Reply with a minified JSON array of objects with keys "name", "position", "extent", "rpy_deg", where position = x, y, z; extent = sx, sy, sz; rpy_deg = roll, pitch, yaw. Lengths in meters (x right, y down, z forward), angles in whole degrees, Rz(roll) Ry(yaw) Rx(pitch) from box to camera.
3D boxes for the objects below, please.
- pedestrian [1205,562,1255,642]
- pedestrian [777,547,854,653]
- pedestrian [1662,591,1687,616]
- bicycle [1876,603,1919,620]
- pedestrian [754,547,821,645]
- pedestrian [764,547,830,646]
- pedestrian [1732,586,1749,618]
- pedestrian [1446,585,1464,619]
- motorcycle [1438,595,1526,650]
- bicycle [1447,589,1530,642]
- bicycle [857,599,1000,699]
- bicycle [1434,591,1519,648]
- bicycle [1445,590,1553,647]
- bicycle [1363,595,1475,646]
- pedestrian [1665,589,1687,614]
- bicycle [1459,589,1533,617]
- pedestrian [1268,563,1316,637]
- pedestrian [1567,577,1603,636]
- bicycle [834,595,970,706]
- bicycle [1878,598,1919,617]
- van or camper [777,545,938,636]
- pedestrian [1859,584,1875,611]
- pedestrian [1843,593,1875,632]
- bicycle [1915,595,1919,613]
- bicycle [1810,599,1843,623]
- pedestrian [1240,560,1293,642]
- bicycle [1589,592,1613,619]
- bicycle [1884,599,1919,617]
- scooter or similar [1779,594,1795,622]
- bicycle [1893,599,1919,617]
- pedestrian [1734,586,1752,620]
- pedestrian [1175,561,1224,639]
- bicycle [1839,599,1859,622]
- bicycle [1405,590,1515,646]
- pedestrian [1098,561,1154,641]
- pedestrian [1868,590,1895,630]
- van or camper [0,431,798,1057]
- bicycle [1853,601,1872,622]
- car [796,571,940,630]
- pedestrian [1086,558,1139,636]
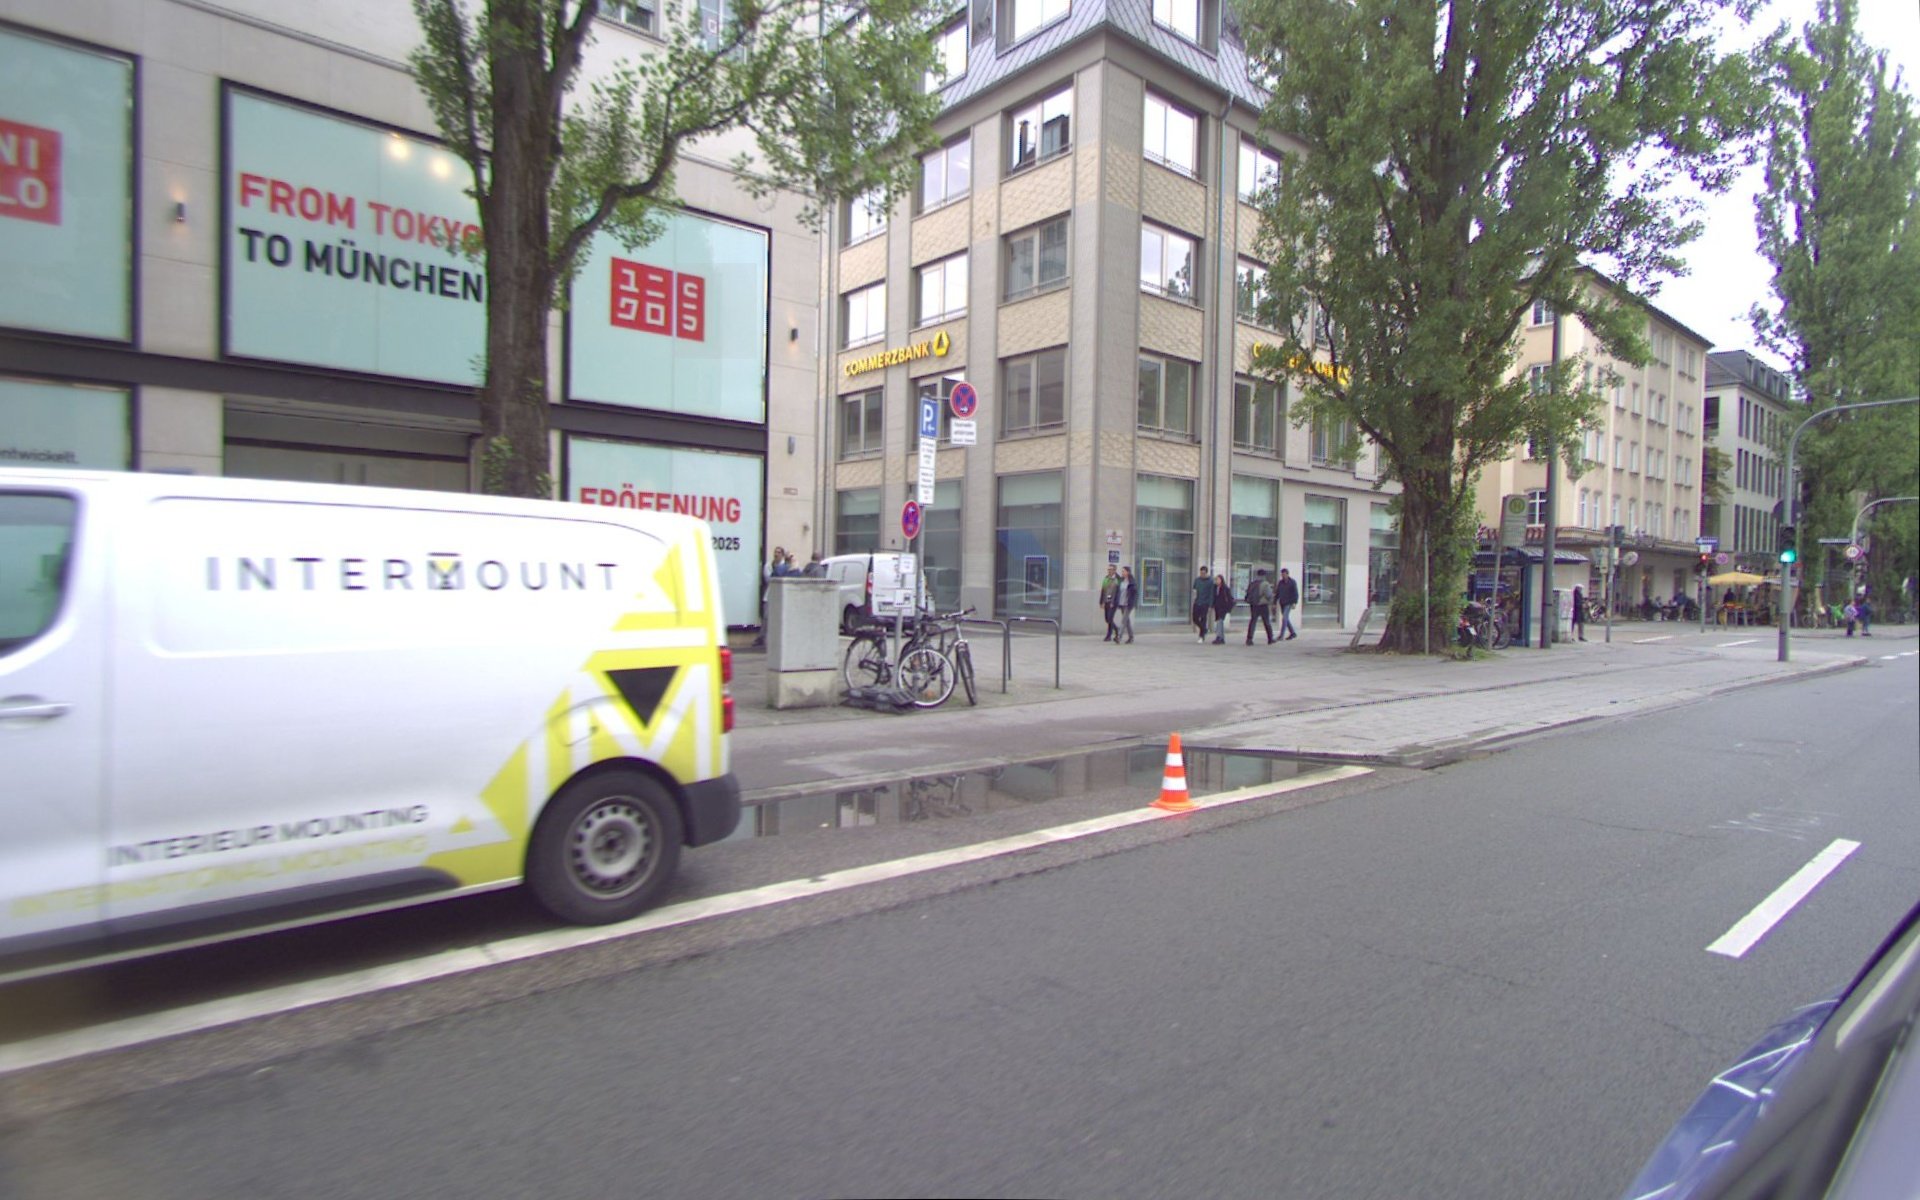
[{"name":"pedestrian","position":[6.188,0.021,23.196],"extent":[0.844,1.779,0.752],"rpy_deg":[-2,3,-39]},{"name":"pedestrian","position":[-2.410,-0.015,16.874],"extent":[0.969,1.694,0.825],"rpy_deg":[0,1,-39]},{"name":"pedestrian","position":[36.548,0.164,51.756],"extent":[0.687,1.213,0.870],"rpy_deg":[0,1,-40]},{"name":"bicycle","position":[57.722,0.726,62.233],"extent":[1.997,0.957,0.282],"rpy_deg":[2,1,42]},{"name":"pedestrian","position":[-3.174,-0.082,18.645],"extent":[0.945,1.739,0.751],"rpy_deg":[0,1,-40]},{"name":"pedestrian","position":[-2.870,-0.071,17.831],"extent":[0.945,1.683,0.653],"rpy_deg":[0,1,-40]},{"name":"pedestrian","position":[41.365,0.087,53.662],"extent":[0.526,1.694,0.542],"rpy_deg":[1,1,-33]},{"name":"pedestrian","position":[22.499,0.085,45.995],"extent":[0.437,1.577,0.584],"rpy_deg":[0,0,-39]},{"name":"motorcycle","position":[11.917,0.488,23.146],"extent":[0.500,1.154,1.729],"rpy_deg":[0,2,-38]},{"name":"bicycle","position":[13.690,0.386,26.301],"extent":[0.467,1.268,2.252],"rpy_deg":[1,1,-16]},{"name":"bicycle","position":[-0.400,0.563,12.332],"extent":[1.750,1.057,0.478],"rpy_deg":[4,3,32]},{"name":"bicycle","position":[12.178,0.442,23.903],"extent":[0.441,1.254,1.729],"rpy_deg":[1,2,-38]},{"name":"bicycle","position":[13.135,0.422,24.739],"extent":[0.469,1.268,2.320],"rpy_deg":[0,1,-40]},{"name":"bicycle","position":[10.423,0.439,23.035],"extent":[0.859,1.029,2.153],"rpy_deg":[0,1,-40]},{"name":"pedestrian","position":[37.681,0.092,53.228],"extent":[0.687,1.280,0.777],"rpy_deg":[0,1,-40]},{"name":"bicycle","position":[25.526,0.113,48.276],"extent":[0.982,1.268,2.976],"rpy_deg":[0,1,-40]},{"name":"pedestrian","position":[8.526,-0.012,26.021],"extent":[0.875,1.840,0.819],"rpy_deg":[0,1,-42]},{"name":"pedestrian","position":[19.572,0.194,31.704],"extent":[0.739,1.780,0.710],"rpy_deg":[0,1,-39]},{"name":"bicycle","position":[-0.707,0.551,11.850],"extent":[1.737,1.124,0.442],"rpy_deg":[5,3,41]},{"name":"bicycle","position":[57.549,0.452,61.903],"extent":[1.997,1.096,0.282],"rpy_deg":[2,1,41]},{"name":"van or camper","position":[-2.436,-0.228,23.111],"extent":[1.862,1.890,4.117],"rpy_deg":[0,1,-36]},{"name":"pedestrian","position":[64.589,-0.182,72.083],"extent":[0.889,1.874,0.658],"rpy_deg":[1,1,-38]},{"name":"pedestrian","position":[36.909,0.498,41.548],"extent":[0.608,1.536,0.768],"rpy_deg":[0,2,4]},{"name":"bicycle","position":[69.894,0.321,72.139],"extent":[0.948,1.230,2.577],"rpy_deg":[0,2,-40]},{"name":"bicycle","position":[40.315,0.515,47.083],"extent":[1.774,1.084,0.406],"rpy_deg":[0,-4,-25]},{"name":"pedestrian","position":[7.076,0.005,23.387],"extent":[0.875,1.840,0.819],"rpy_deg":[0,1,-42]},{"name":"bicycle","position":[29.338,0.242,46.305],"extent":[1.780,1.185,0.435],"rpy_deg":[0,0,-42]},{"name":"bicycle","position":[60.750,0.502,65.269],"extent":[1.658,1.121,0.391],"rpy_deg":[2,1,39]},{"name":"scooter or similar","position":[38.379,0.348,46.994],"extent":[0.405,1.259,1.355],"rpy_deg":[2,1,33]},{"name":"bicycle","position":[61.943,0.524,65.816],"extent":[1.864,1.149,0.335],"rpy_deg":[3,2,42]},{"name":"pedestrian","position":[39.541,0.167,51.118],"extent":[0.526,1.694,0.542],"rpy_deg":[1,1,-33]},{"name":"pedestrian","position":[5.599,-0.022,23.687],"extent":[0.844,1.779,0.752],"rpy_deg":[-2,3,-39]},{"name":"bicycle","position":[42.384,0.489,48.258],"extent":[1.740,1.061,0.509],"rpy_deg":[0,1,-43]},{"name":"bicycle","position":[12.231,0.418,24.833],"extent":[0.622,1.268,2.348],"rpy_deg":[0,1,-40]},{"name":"pedestrian","position":[3.659,0.016,22.311],"extent":[0.945,1.698,0.752],"rpy_deg":[1,1,-39]},{"name":"pedestrian","position":[38.598,0.425,42.398],"extent":[0.850,1.630,0.766],"rpy_deg":[0,1,-44]},{"name":"van or camper","position":[-3.220,0.419,4.057],"extent":[4.817,1.906,1.872],"rpy_deg":[0,1,-41]},{"name":"bicycle","position":[46.034,0.581,51.609],"extent":[1.740,0.987,0.509],"rpy_deg":[0,1,-42]},{"name":"car","position":[-2.552,-0.045,27.290],"extent":[1.865,1.405,4.313],"rpy_deg":[0,2,-37]},{"name":"pedestrian","position":[3.518,-0.076,23.329],"extent":[0.945,1.739,0.752],"rpy_deg":[1,1,-39]}]
